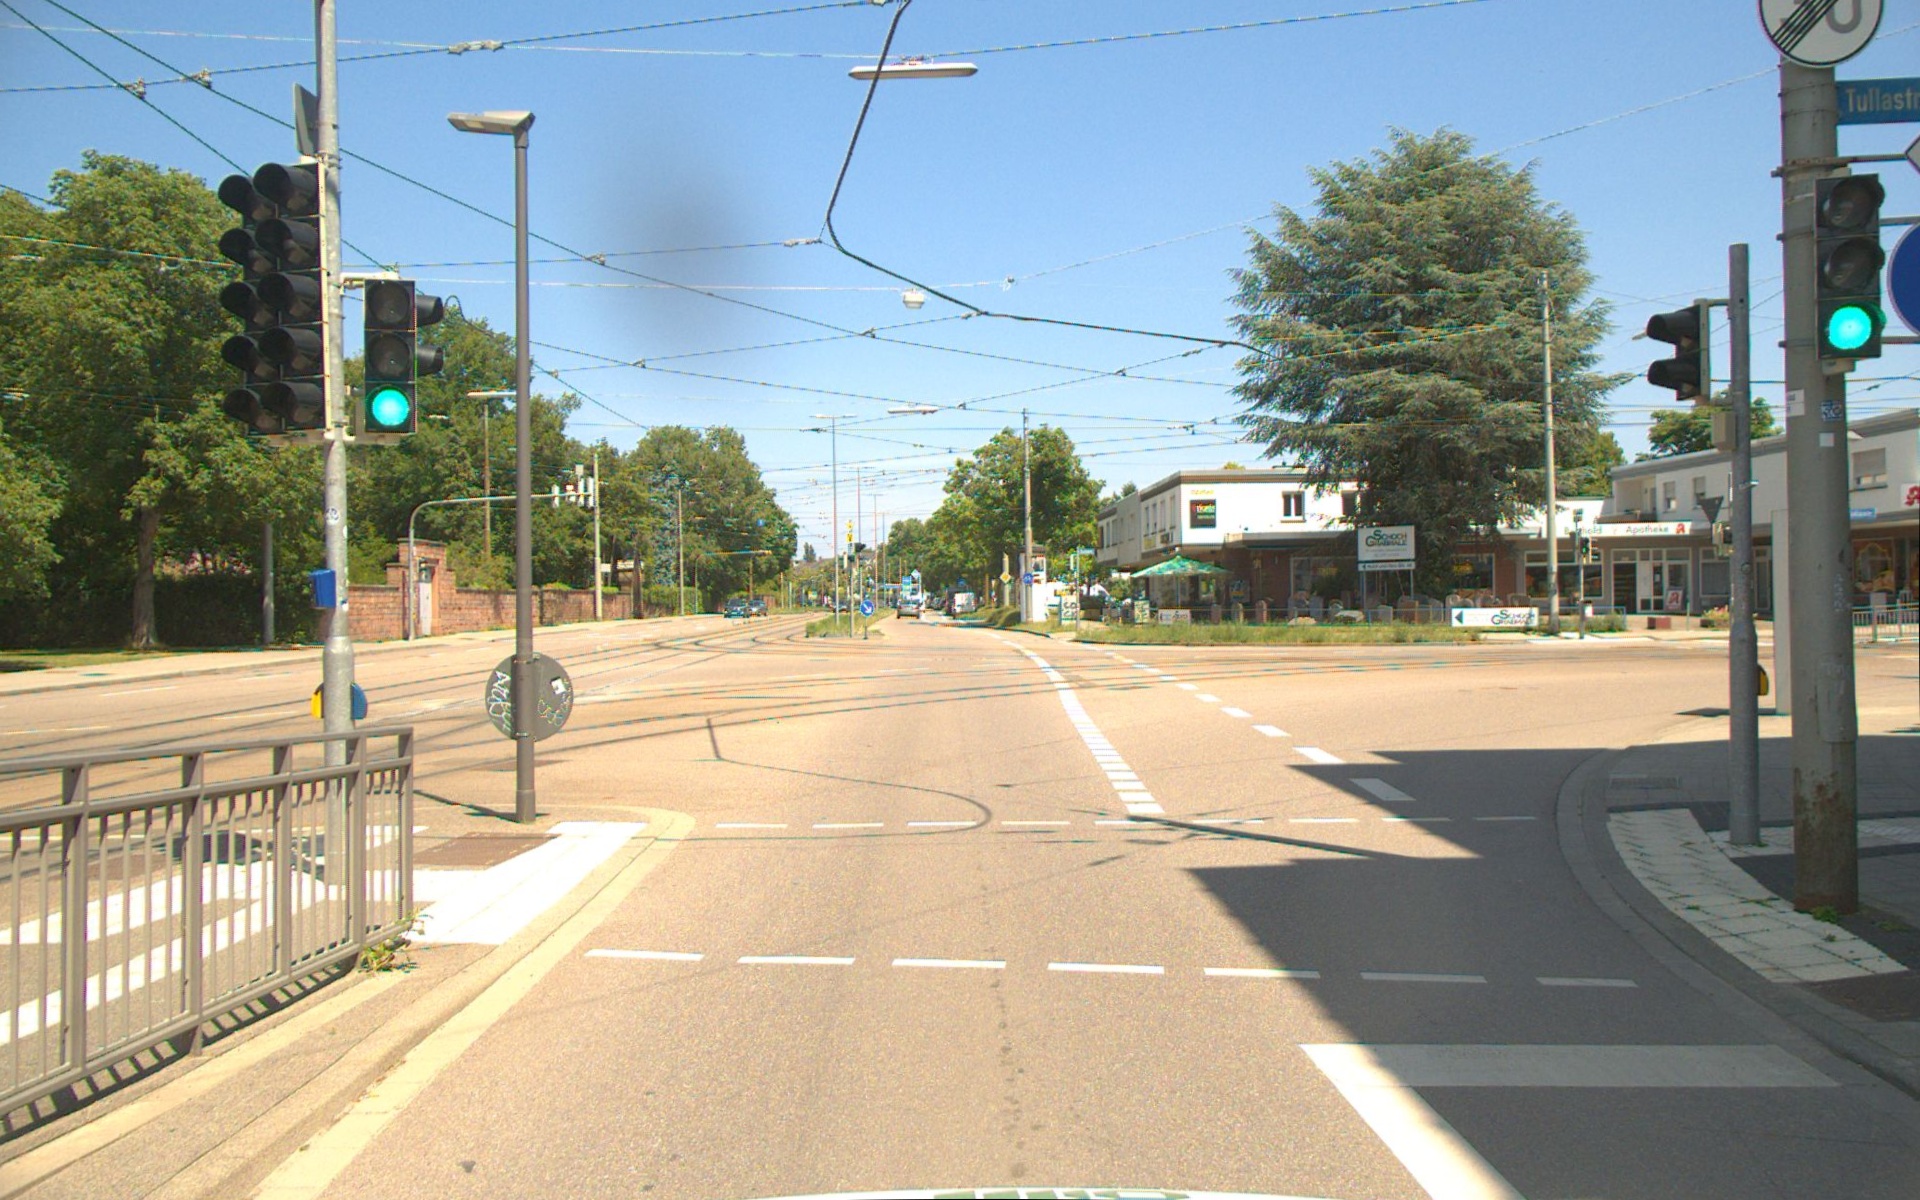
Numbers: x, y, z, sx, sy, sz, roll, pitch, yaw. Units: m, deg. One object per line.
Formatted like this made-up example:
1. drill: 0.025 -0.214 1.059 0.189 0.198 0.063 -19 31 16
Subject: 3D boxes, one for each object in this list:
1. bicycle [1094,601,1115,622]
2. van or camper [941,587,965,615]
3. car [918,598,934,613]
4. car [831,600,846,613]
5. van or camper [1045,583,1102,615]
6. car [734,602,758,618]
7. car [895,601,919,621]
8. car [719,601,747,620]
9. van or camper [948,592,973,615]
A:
1. bicycle: 7.318 0.573 83.948 1.012 1.032 2.639 -1 0 6
2. van or camper: -0.668 0.123 152.243 1.954 2.507 3.997 -1 0 -4
3. car: -3.474 0.558 170.569 1.636 1.460 3.474 -1 0 -1
4. car: -13.832 0.702 188.287 1.608 1.424 4.114 -1 0 -2
5. van or camper: 9.797 -0.100 142.987 4.661 2.718 2.134 -1 0 -3
6. car: -19.596 0.878 151.543 1.607 1.446 4.168 -1 0 1
7. car: -4.031 0.804 125.425 1.605 1.374 3.839 -4 0 -4
8. car: -19.446 0.897 141.829 1.783 1.631 4.519 -1 0 0
9. van or camper: 0.047 0.276 129.780 1.883 1.803 3.999 -1 0 -1
